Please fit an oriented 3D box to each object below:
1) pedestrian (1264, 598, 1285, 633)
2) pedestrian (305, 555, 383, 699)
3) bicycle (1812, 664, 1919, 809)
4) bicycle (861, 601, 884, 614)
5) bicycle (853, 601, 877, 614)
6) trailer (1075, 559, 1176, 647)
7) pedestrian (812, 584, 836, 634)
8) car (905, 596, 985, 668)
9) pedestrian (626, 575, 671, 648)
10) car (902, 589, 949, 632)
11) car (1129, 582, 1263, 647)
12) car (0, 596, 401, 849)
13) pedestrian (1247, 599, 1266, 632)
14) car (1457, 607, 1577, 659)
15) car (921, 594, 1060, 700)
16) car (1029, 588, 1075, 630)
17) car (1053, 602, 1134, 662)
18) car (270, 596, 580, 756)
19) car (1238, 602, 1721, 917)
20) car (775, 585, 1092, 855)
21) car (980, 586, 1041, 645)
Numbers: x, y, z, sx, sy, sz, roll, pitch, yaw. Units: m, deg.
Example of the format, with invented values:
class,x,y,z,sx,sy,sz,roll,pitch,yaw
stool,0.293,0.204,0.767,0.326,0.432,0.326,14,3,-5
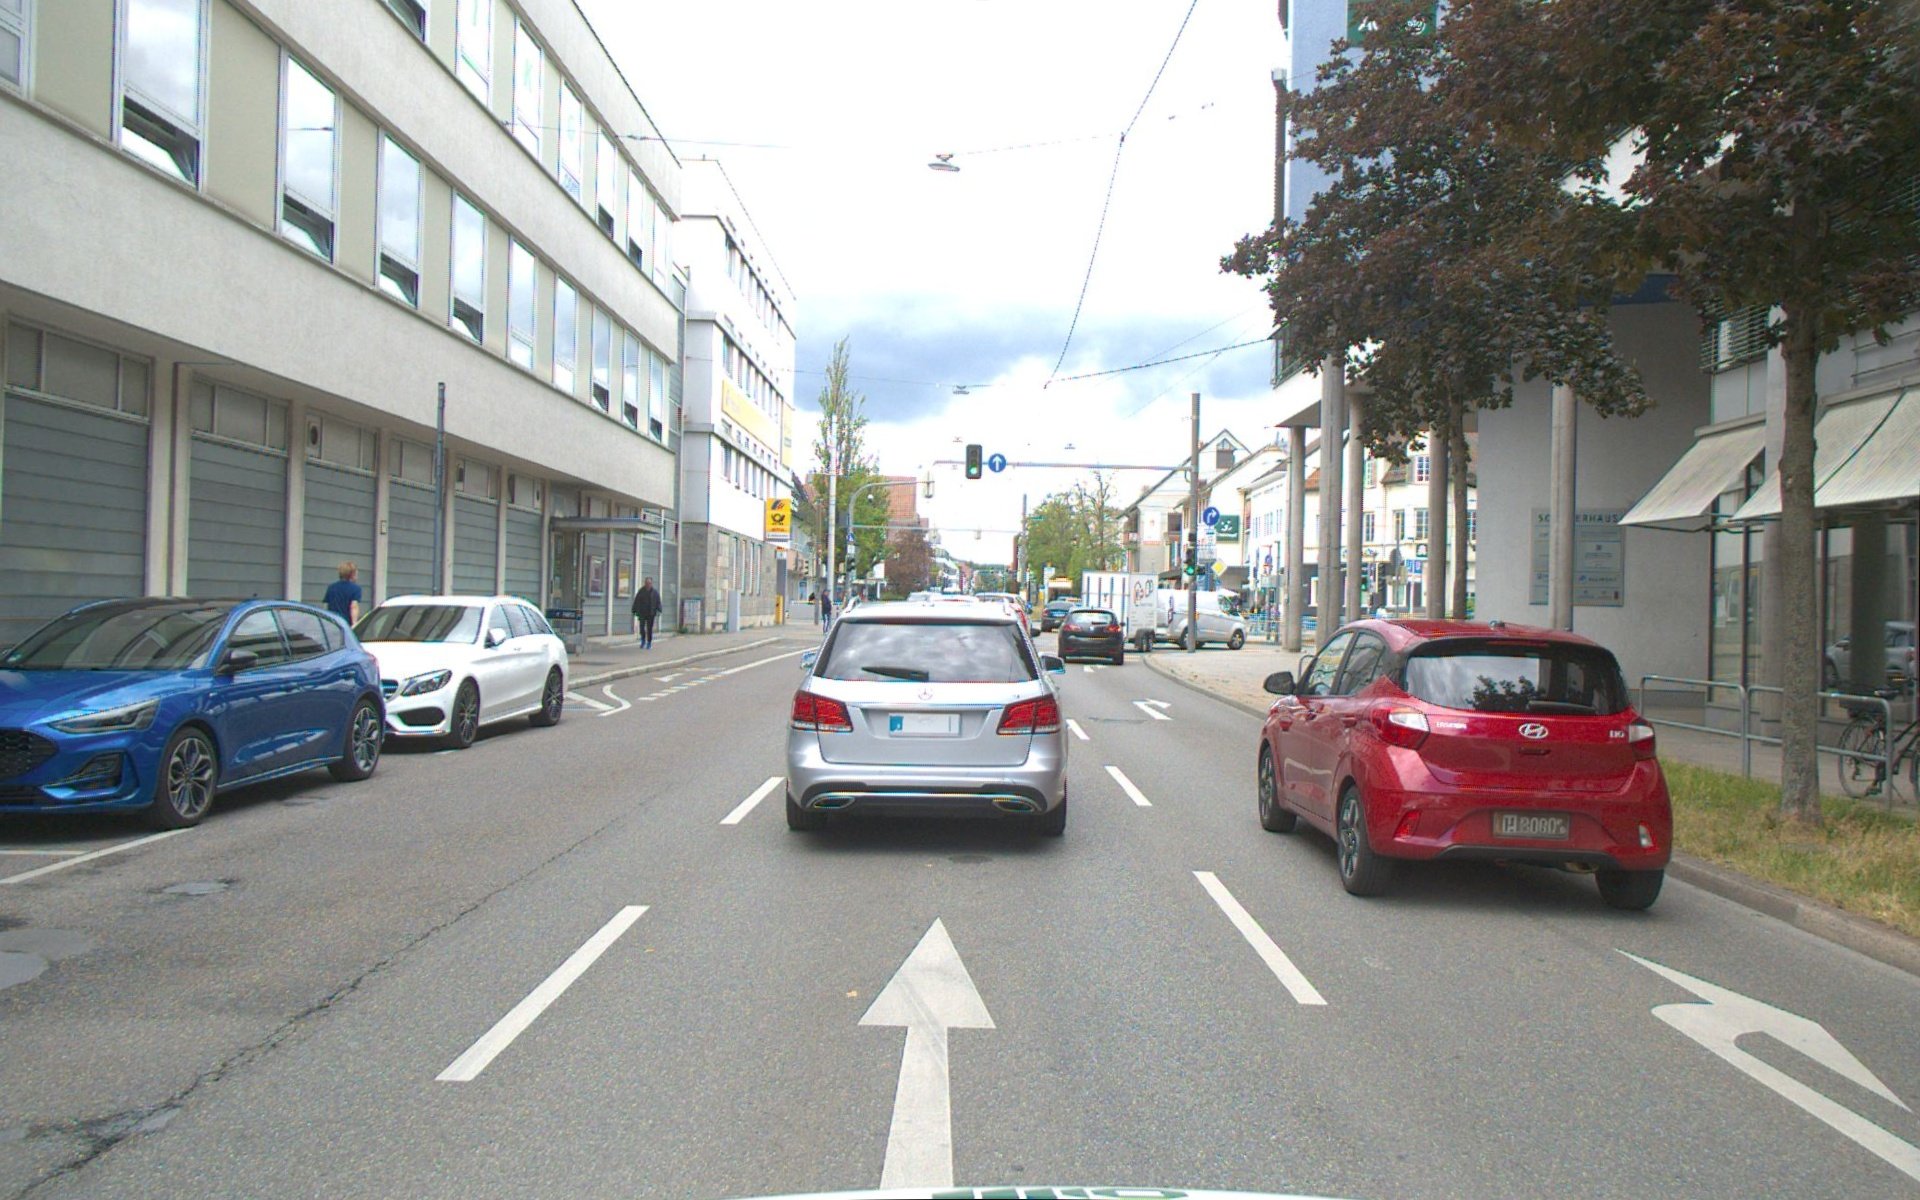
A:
class,x,y,z,sx,sy,sz,roll,pitch,yaw
pedestrian,16.493,0.811,86.777,0.778,1.748,0.643,2,1,-29
pedestrian,-7.678,0.327,20.641,0.577,1.748,1.055,1,0,-2
bicycle,7.924,1.139,13.958,0.353,1.105,2.027,2,0,-1
bicycle,-7.562,0.650,142.865,1.902,1.047,0.529,2,0,-9
bicycle,-8.028,0.626,139.544,1.902,1.047,0.529,2,0,-9
trailer,5.450,0.126,53.916,1.841,2.658,4.320,3,0,24
pedestrian,-4.908,0.311,59.552,0.634,1.748,0.783,2,0,8
car,-0.369,0.692,37.715,1.699,1.534,3.999,1,0,-1
pedestrian,-7.660,0.279,40.718,0.844,1.748,1.031,2,0,-2
car,-1.383,0.407,67.849,1.739,1.660,4.768,0,0,1
car,8.266,0.536,57.681,4.862,1.979,1.856,4,0,-41
car,-5.663,0.704,11.675,1.777,1.451,4.266,0,0,3
pedestrian,15.636,0.808,87.249,0.697,1.748,0.641,1,0,-36
car,19.283,1.138,57.390,3.705,1.699,1.931,1,0,10
car,0.560,0.688,26.378,1.697,1.534,4.003,1,0,8
car,4.169,0.387,75.274,1.791,1.816,3.999,1,0,-1
car,3.478,0.804,43.618,1.699,1.435,3.999,1,0,-2
car,-5.464,0.693,17.533,1.635,1.459,4.554,0,0,2
car,2.954,0.806,10.326,1.664,1.477,3.999,3,0,-1
car,-0.199,0.688,11.629,1.808,1.534,4.170,1,0,-2
car,1.582,0.486,53.008,1.699,1.790,3.999,1,0,-1
